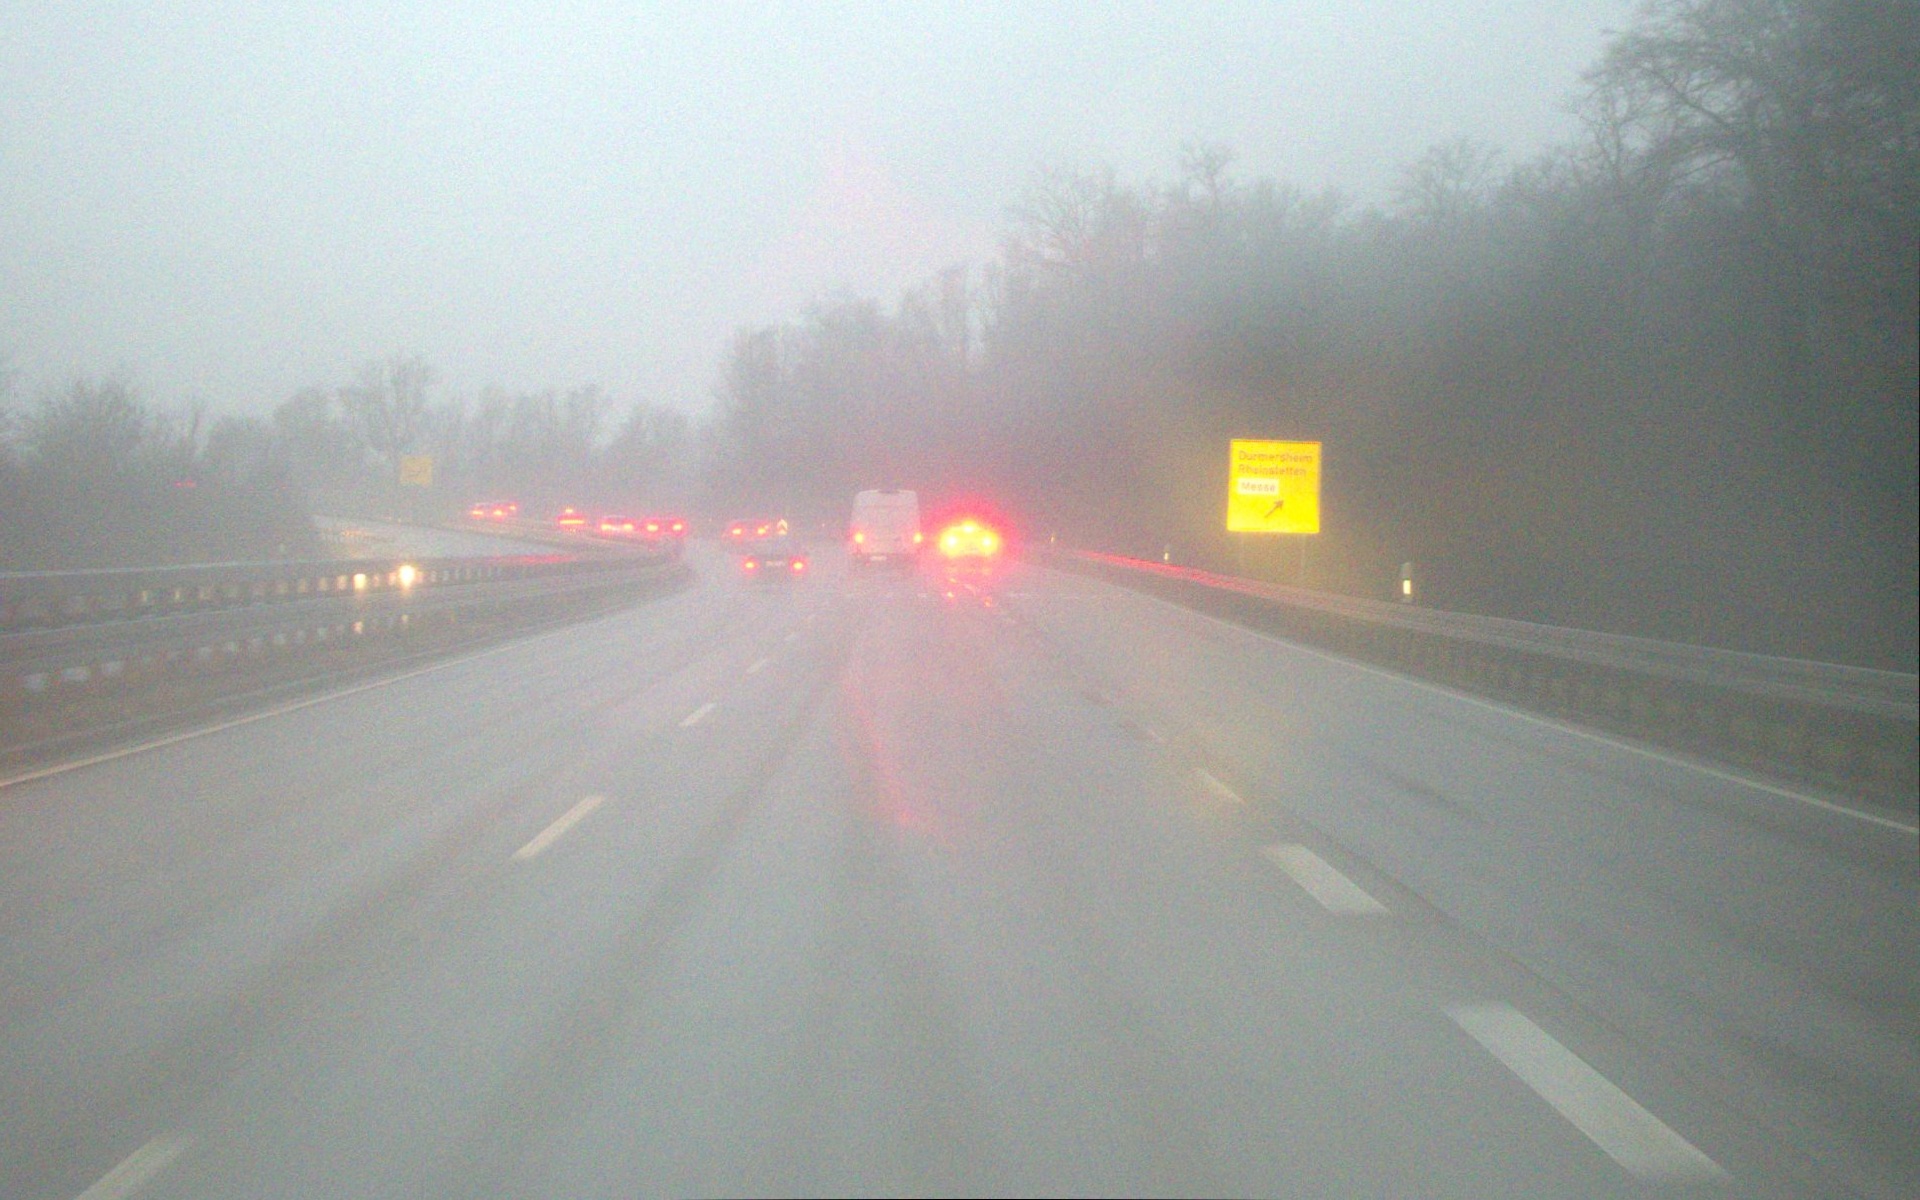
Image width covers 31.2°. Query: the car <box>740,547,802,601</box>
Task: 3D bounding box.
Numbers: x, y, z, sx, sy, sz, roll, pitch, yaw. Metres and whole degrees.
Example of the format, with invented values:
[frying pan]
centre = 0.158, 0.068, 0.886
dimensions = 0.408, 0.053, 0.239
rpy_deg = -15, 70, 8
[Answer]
[car]
centre = -4.908, -0.688, 89.530
dimensions = 1.416, 1.312, 3.083
rpy_deg = 2, 1, 0
